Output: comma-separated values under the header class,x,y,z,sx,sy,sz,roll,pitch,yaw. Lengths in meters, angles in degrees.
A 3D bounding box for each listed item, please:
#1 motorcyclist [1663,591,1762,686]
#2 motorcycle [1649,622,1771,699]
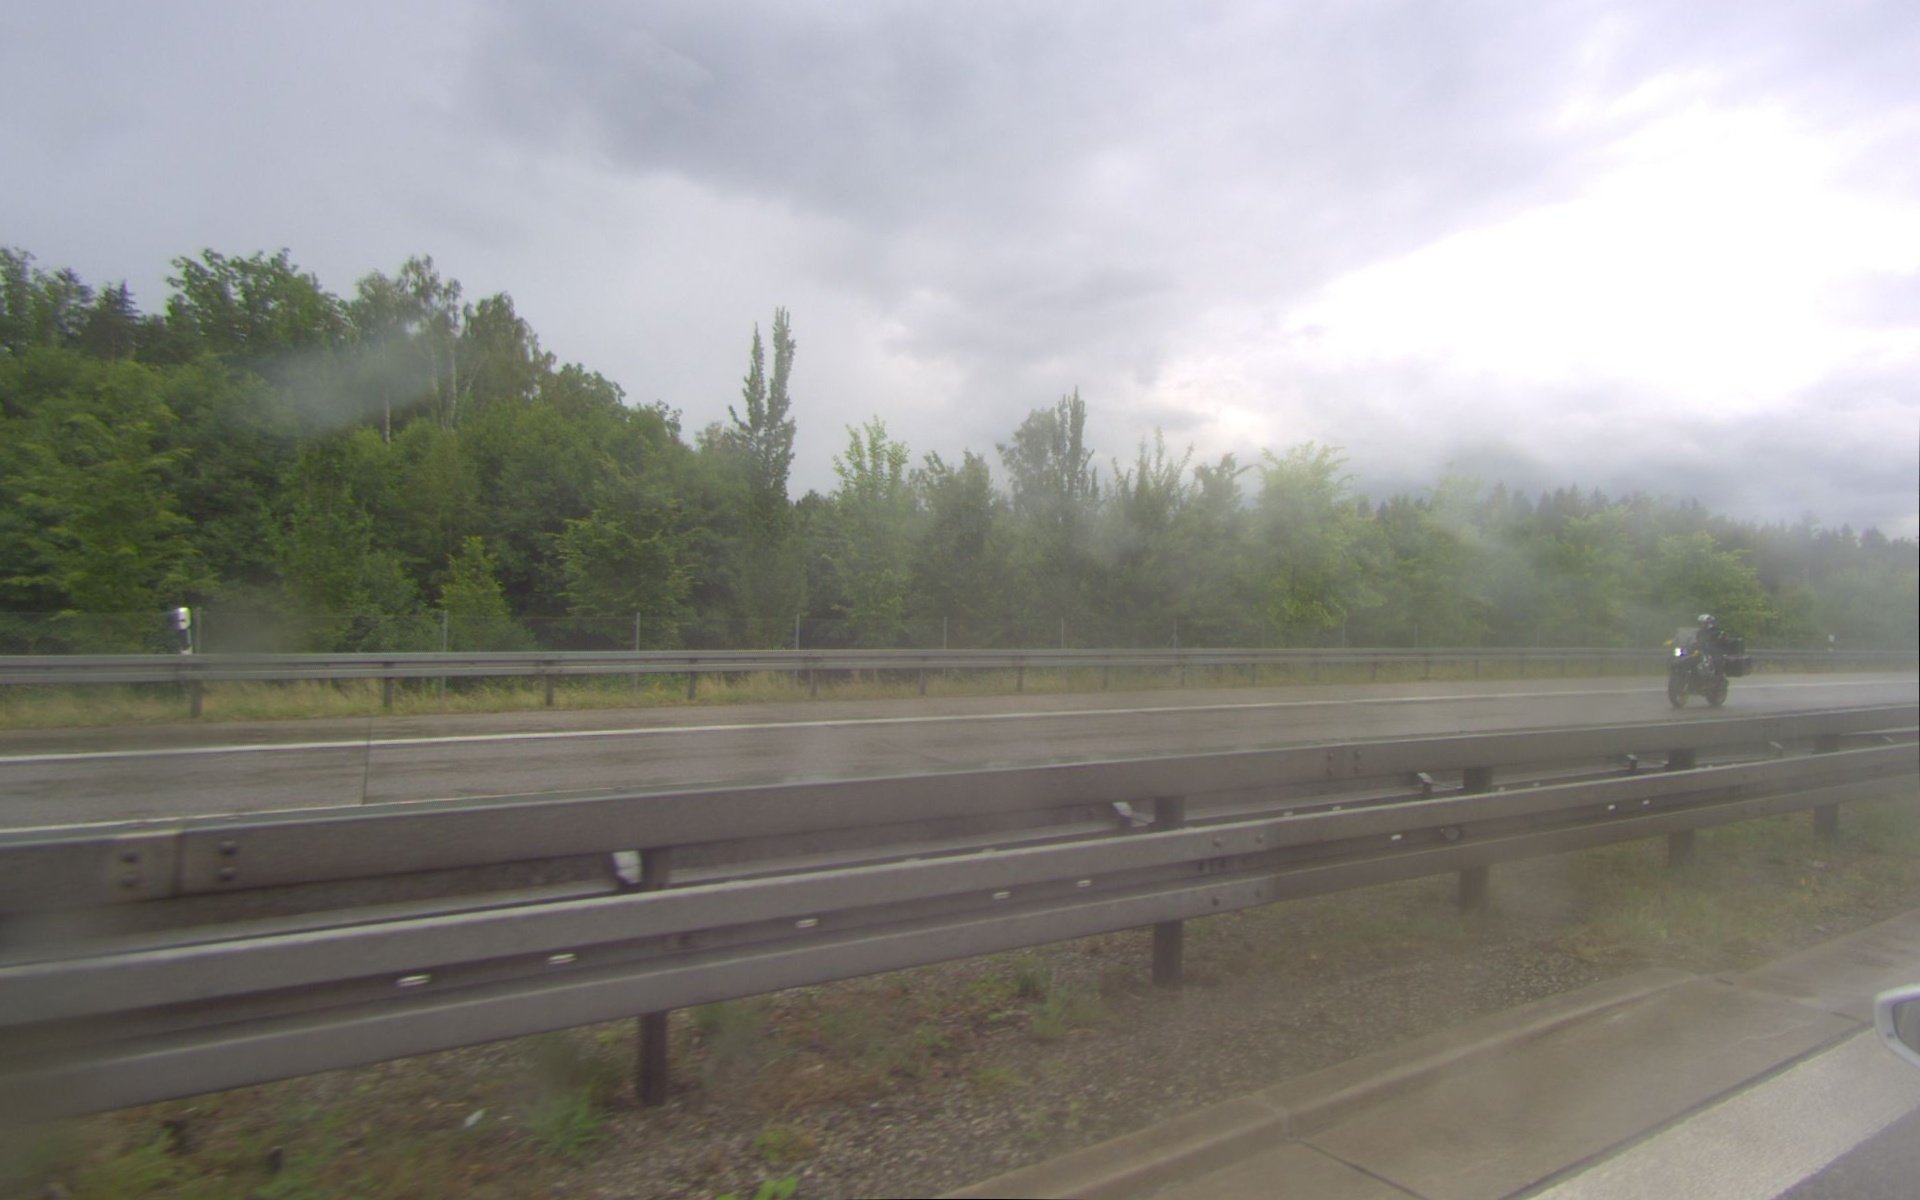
class,x,y,z,sx,sy,sz,roll,pitch,yaw
motorcyclist,14.797,0.747,19.762,1.428,1.780,1.062,2,0,-30
motorcycle,14.750,1.164,19.741,2.385,1.407,1.068,2,0,-31
